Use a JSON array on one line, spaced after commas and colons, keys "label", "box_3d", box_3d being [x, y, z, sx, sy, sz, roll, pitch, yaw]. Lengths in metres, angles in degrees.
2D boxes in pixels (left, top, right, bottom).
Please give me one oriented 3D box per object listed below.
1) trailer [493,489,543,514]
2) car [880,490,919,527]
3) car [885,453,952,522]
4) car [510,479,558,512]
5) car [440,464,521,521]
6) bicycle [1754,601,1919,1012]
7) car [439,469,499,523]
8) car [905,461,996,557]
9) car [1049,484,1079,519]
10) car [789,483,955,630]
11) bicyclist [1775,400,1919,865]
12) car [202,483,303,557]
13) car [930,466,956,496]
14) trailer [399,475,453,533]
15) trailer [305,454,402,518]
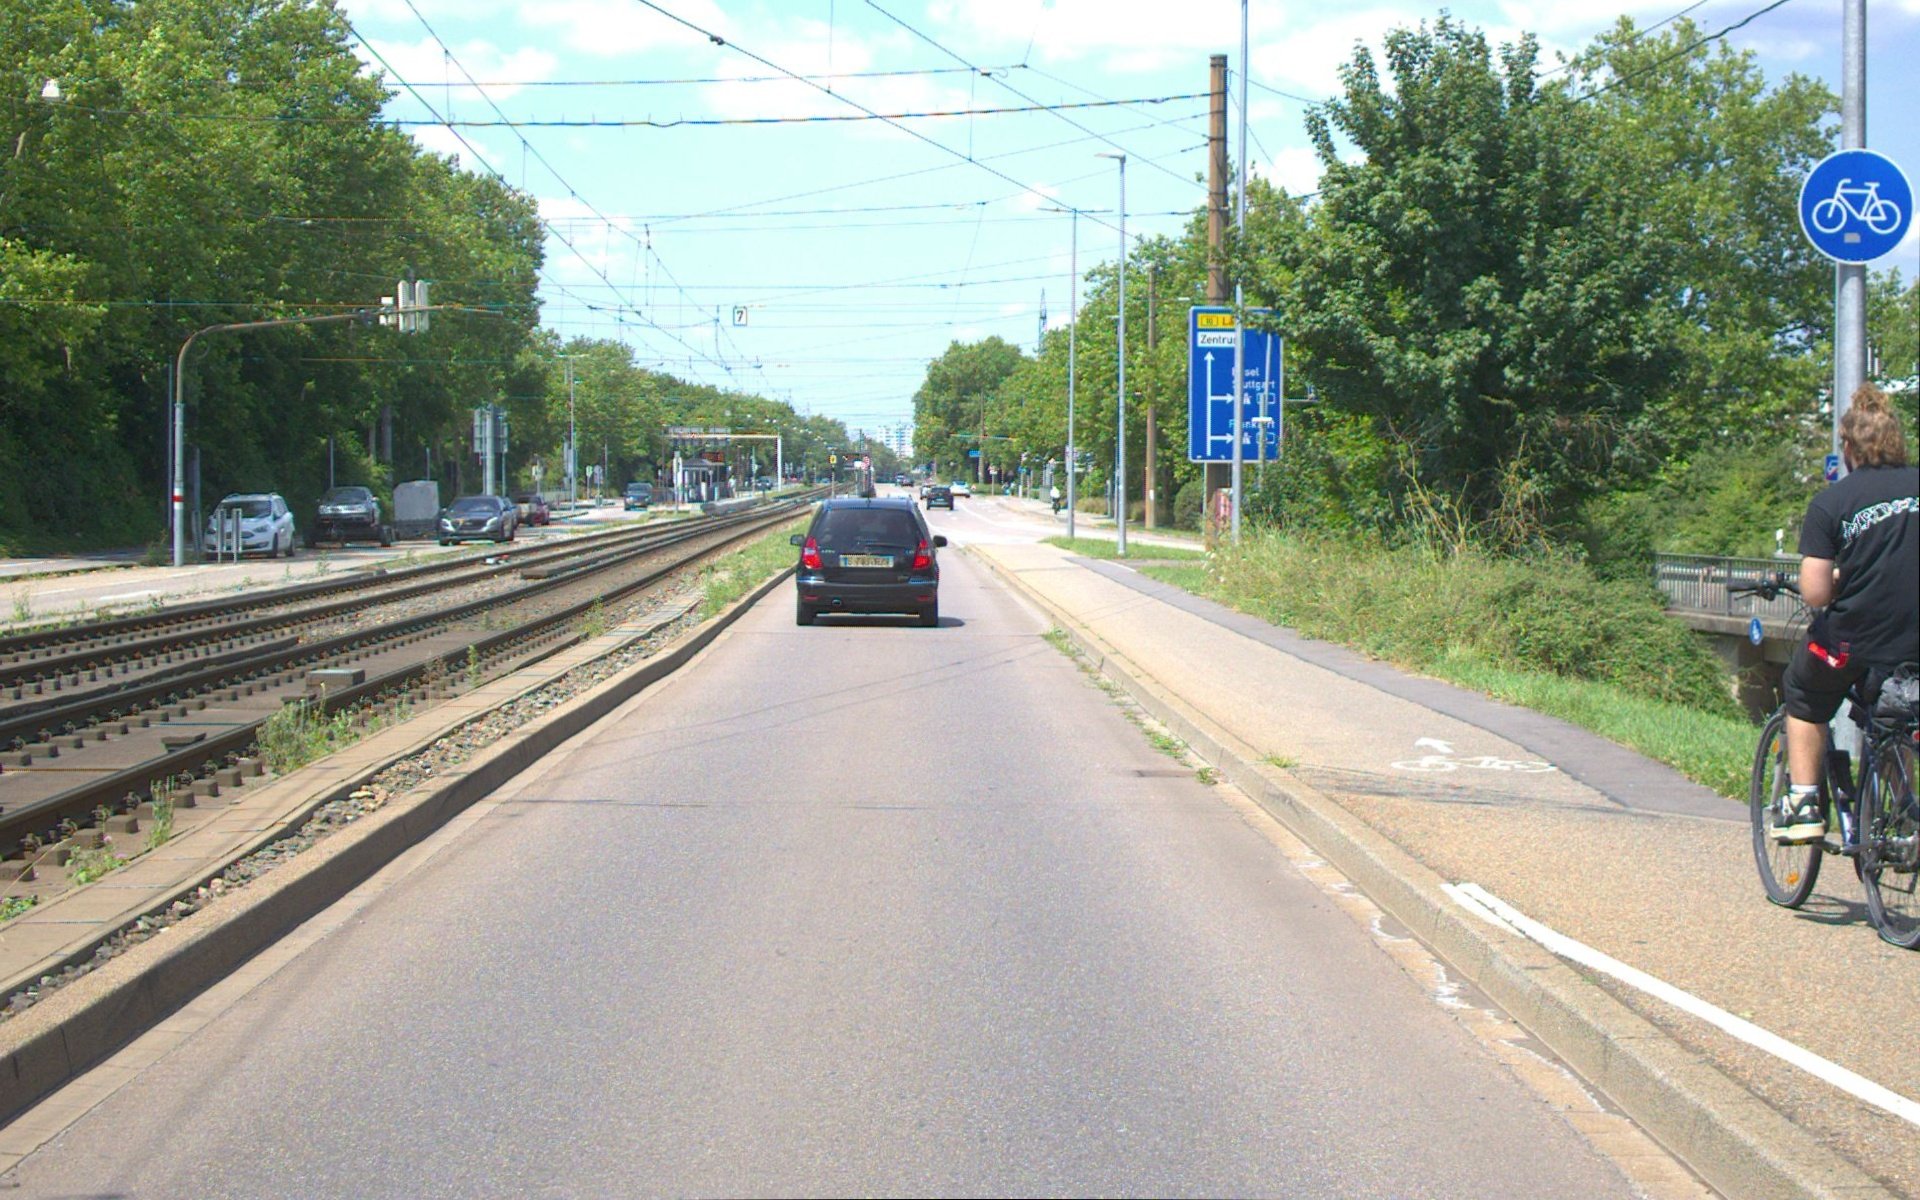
[{"label": "trailer", "box_3d": [-20.697, -4.632, 161.065, 1.892, 1.040, 5.105, 1, 3, -2]}, {"label": "car", "box_3d": [-3.125, -4.734, 177.777, 1.885, 1.634, 4.001, 3, 3, 0]}, {"label": "car", "box_3d": [-1.319, -3.583, 108.603, 1.993, 2.006, 4.001, 1, 4, -2]}, {"label": "car", "box_3d": [-21.094, -5.177, 170.228, 1.993, 1.568, 4.001, 0, 3, -2]}, {"label": "car", "box_3d": [-14.741, -3.338, 105.845, 1.875, 1.714, 5.331, 0, 2, -2]}, {"label": "bicycle", "box_3d": [3.051, 0.642, 11.528, 0.432, 1.148, 1.855, 1, 4, 4]}, {"label": "car", "box_3d": [-20.063, -4.263, 140.591, 1.854, 2.006, 4.001, 1, 4, 0]}, {"label": "car", "box_3d": [-0.214, -2.100, 78.468, 1.993, 2.006, 4.001, 1, 4, 0]}, {"label": "car", "box_3d": [6.406, -6.101, 212.100, 1.612, 2.006, 3.440, 1, 4, -2]}, {"label": "car", "box_3d": [-1.062, -0.599, 43.526, 1.853, 1.564, 4.389, 1, 4, 1]}, {"label": "bicyclist", "box_3d": [3.059, 0.093, 11.352, 0.585, 1.489, 0.558, 1, 4, 4]}, {"label": "car", "box_3d": [-18.280, -2.096, 88.976, 1.720, 1.625, 4.618, -3, 4, -2]}, {"label": "car", "box_3d": [-1.185, -8.337, 240.527, 1.786, 2.006, 4.001, 1, 4, -1]}, {"label": "trailer", "box_3d": [-19.438, -3.514, 125.227, 1.609, 2.006, 3.917, 1, 3, -4]}, {"label": "trailer", "box_3d": [-18.442, -3.508, 104.760, 2.461, 1.882, 5.964, 0, 2, -5]}]
